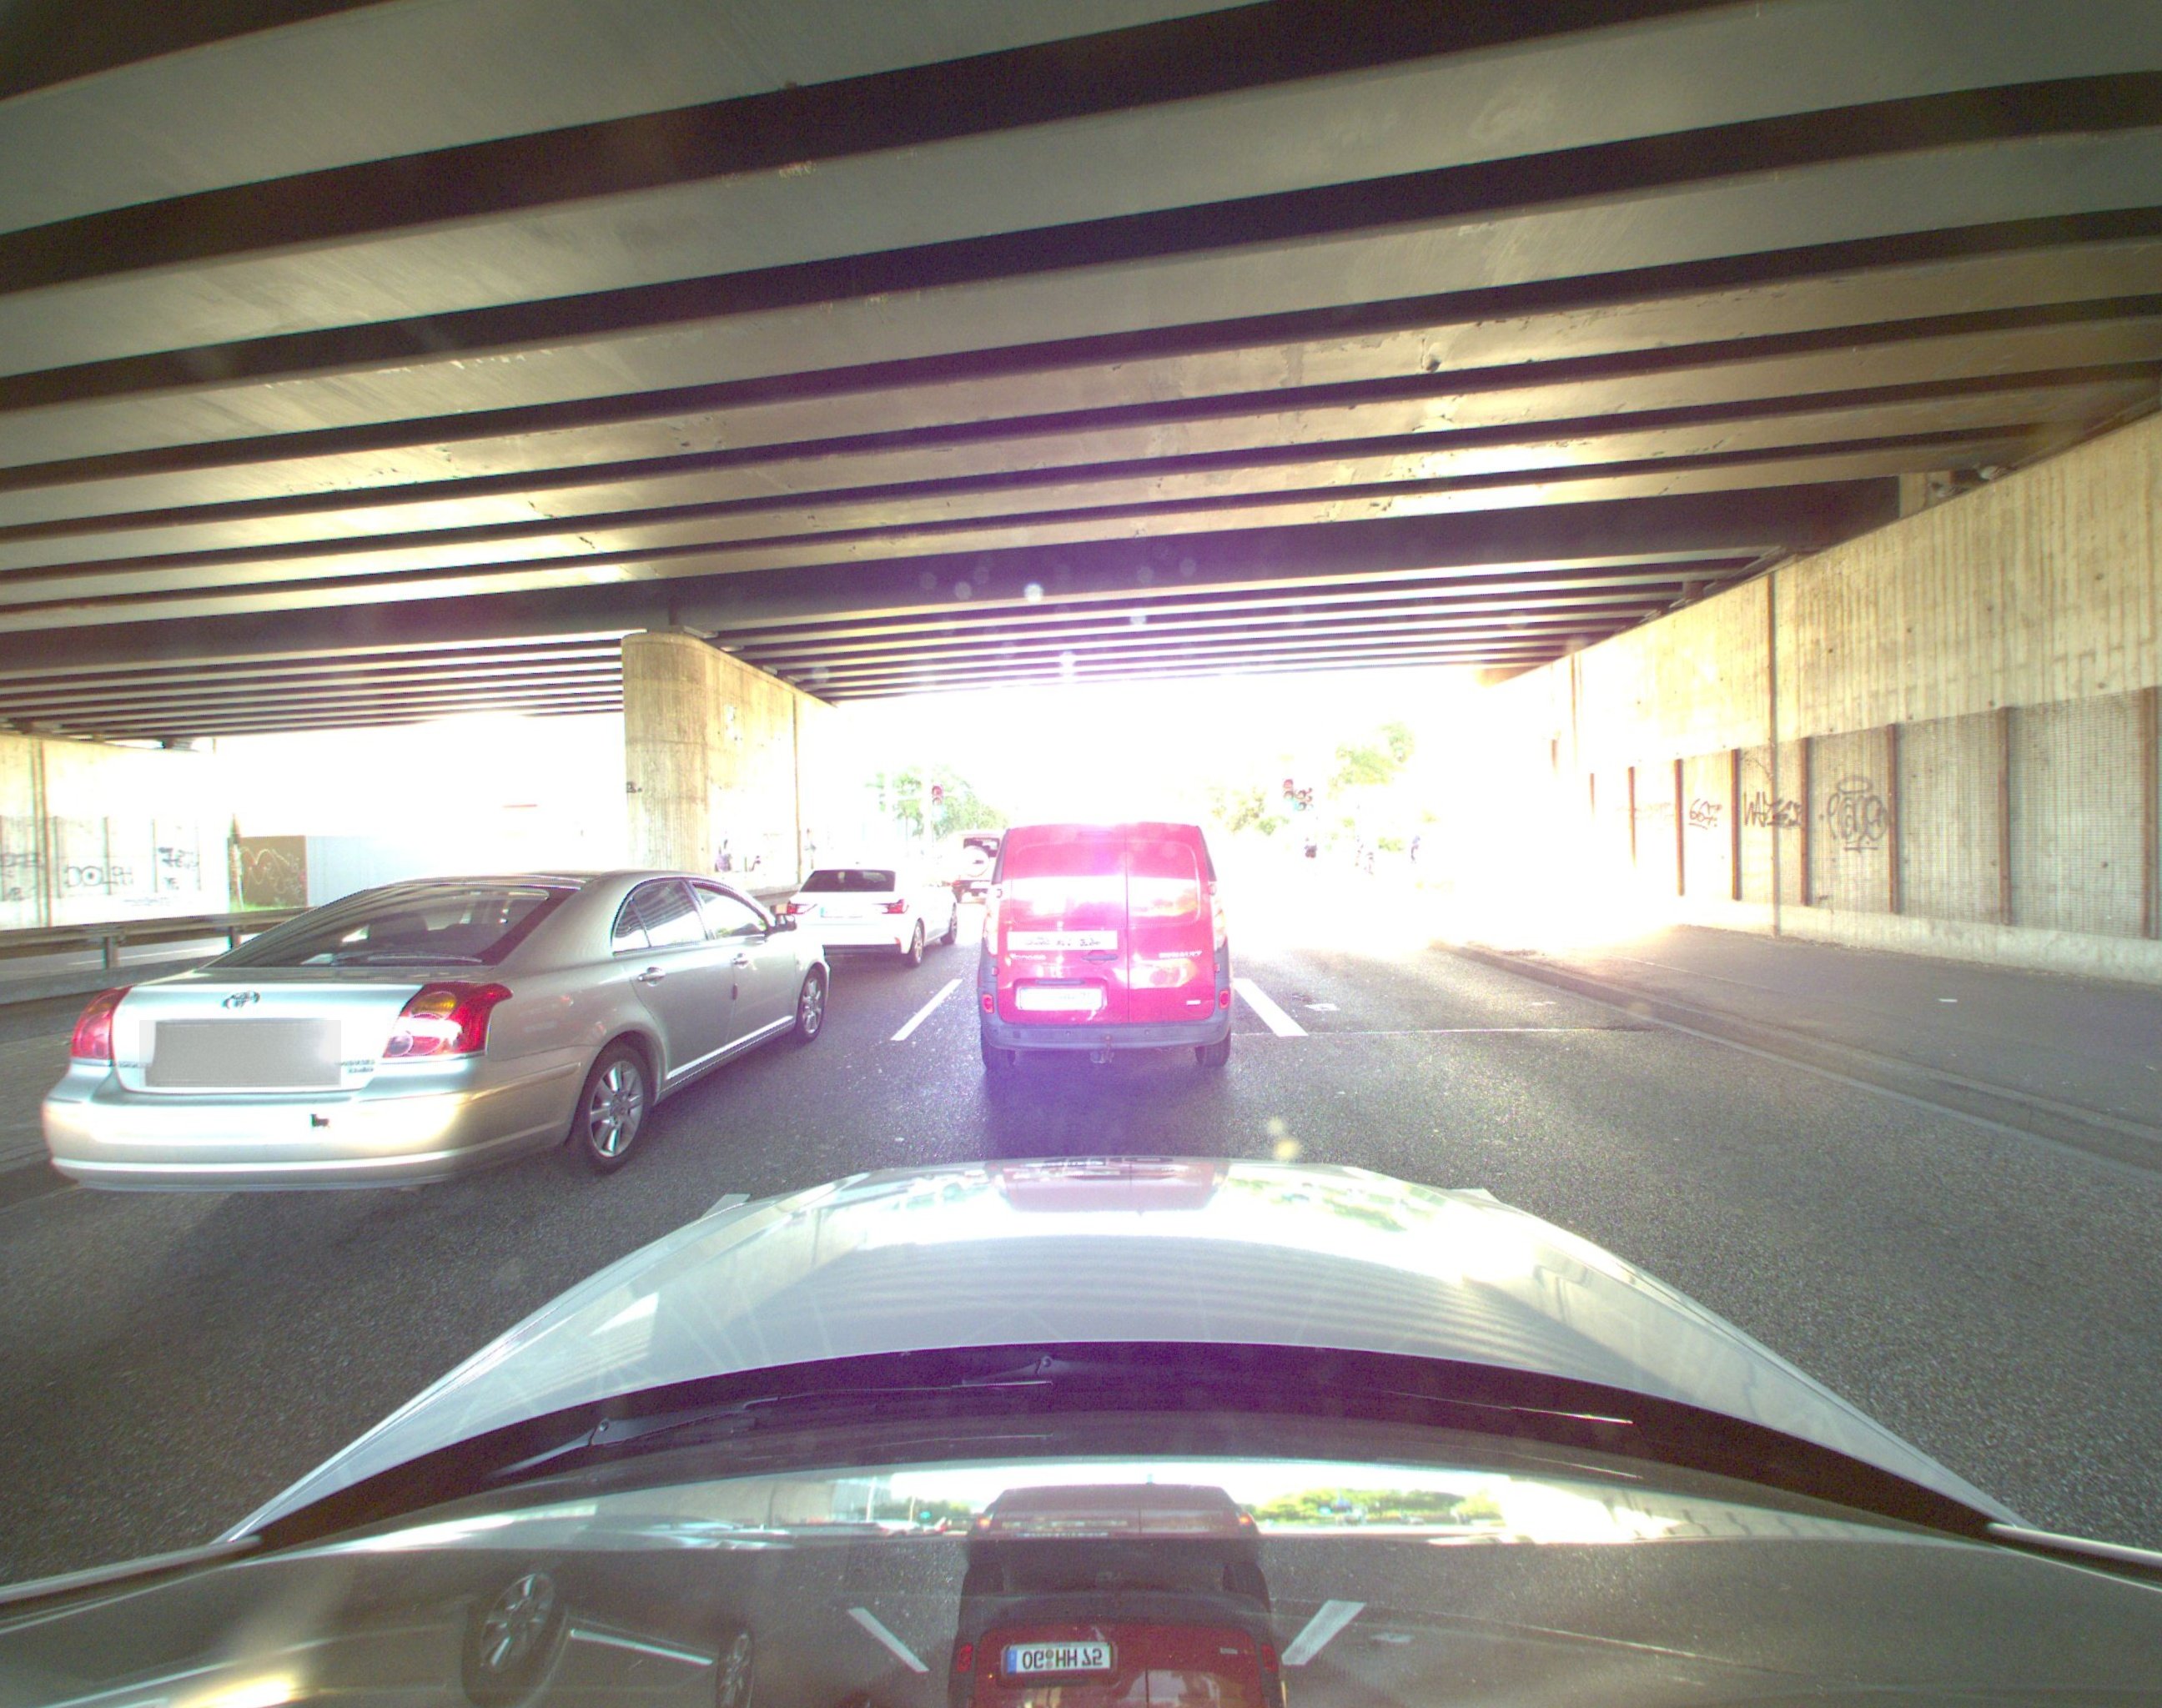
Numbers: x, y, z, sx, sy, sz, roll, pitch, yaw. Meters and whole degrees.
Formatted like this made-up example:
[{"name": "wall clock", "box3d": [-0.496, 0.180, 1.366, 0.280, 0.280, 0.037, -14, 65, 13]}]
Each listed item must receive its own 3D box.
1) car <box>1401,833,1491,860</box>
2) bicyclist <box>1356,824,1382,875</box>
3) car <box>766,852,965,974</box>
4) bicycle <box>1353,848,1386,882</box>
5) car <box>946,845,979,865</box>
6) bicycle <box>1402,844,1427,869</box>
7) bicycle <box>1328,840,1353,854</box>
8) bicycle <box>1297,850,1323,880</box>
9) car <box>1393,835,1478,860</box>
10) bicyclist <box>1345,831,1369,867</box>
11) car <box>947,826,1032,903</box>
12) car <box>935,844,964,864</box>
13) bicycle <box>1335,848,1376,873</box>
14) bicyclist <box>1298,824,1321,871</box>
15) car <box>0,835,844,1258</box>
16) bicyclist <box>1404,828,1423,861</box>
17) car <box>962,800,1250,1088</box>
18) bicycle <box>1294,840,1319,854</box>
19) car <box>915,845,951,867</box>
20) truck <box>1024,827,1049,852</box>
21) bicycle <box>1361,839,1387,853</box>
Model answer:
[{"name": "car", "box3d": [21.528, -0.418, 48.186, 4.521, 1.514, 1.832, 0, -1, 8]}, {"name": "bicyclist", "box3d": [8.928, -0.131, 25.289, 0.589, 1.548, 0.770, 0, -1, 6]}, {"name": "car", "box3d": [-2.928, 0.731, 11.929, 1.807, 1.438, 3.733, -1, 1, 2]}, {"name": "bicycle", "box3d": [8.942, 0.339, 25.293, 0.589, 1.023, 1.753, 0, -1, 6]}, {"name": "car", "box3d": [-10.604, 0.098, 73.361, 1.816, 1.625, 4.536, -4, 0, 5]}, {"name": "bicycle", "box3d": [14.864, 0.114, 36.306, 0.663, 1.023, 1.756, -1, 2, 10]}, {"name": "bicycle", "box3d": [19.329, -0.537, 60.742, 1.734, 1.023, 0.595, -1, -1, 10]}, {"name": "bicycle", "box3d": [8.127, 0.374, 28.963, 0.589, 1.023, 1.753, 0, -1, 6]}, {"name": "car", "box3d": [22.070, -0.401, 50.852, 4.521, 1.514, 1.832, 0, -1, 8]}, {"name": "bicyclist", "box3d": [11.595, -0.208, 34.215, 0.665, 1.474, 0.748, 0, -1, -13]}, {"name": "car", "box3d": [-2.533, 0.295, 23.533, 1.794, 1.989, 4.591, 0, -1, 2]}, {"name": "car", "box3d": [-12.746, -0.019, 79.402, 1.818, 1.737, 4.532, -4, 0, 2]}, {"name": "bicycle", "box3d": [11.561, 0.287, 34.393, 0.672, 1.023, 2.046, 0, -1, -13]}, {"name": "bicyclist", "box3d": [8.099, -0.229, 28.890, 0.589, 1.613, 0.944, 0, -1, 6]}, {"name": "car", "box3d": [-3.006, 0.691, 5.092, 1.727, 1.480, 4.319, -1, 0, 0]}, {"name": "bicyclist", "box3d": [14.860, -0.426, 36.429, 0.645, 1.480, 0.620, -1, 1, 10]}, {"name": "car", "box3d": [0.219, 0.583, 7.116, 1.798, 1.794, 4.001, 0, -1, 2]}, {"name": "bicycle", "box3d": [17.172, -0.510, 62.055, 1.734, 1.023, 0.595, -1, -1, 10]}, {"name": "car", "box3d": [-13.061, 0.147, 72.144, 1.816, 1.737, 4.636, -4, 0, 5]}, {"name": "truck", "box3d": [-5.741, -1.886, 106.076, 2.399, 3.026, 6.661, -4, 0, 3]}, {"name": "bicycle", "box3d": [21.443, -0.599, 59.540, 1.733, 1.023, 0.596, -1, -1, 13]}]
